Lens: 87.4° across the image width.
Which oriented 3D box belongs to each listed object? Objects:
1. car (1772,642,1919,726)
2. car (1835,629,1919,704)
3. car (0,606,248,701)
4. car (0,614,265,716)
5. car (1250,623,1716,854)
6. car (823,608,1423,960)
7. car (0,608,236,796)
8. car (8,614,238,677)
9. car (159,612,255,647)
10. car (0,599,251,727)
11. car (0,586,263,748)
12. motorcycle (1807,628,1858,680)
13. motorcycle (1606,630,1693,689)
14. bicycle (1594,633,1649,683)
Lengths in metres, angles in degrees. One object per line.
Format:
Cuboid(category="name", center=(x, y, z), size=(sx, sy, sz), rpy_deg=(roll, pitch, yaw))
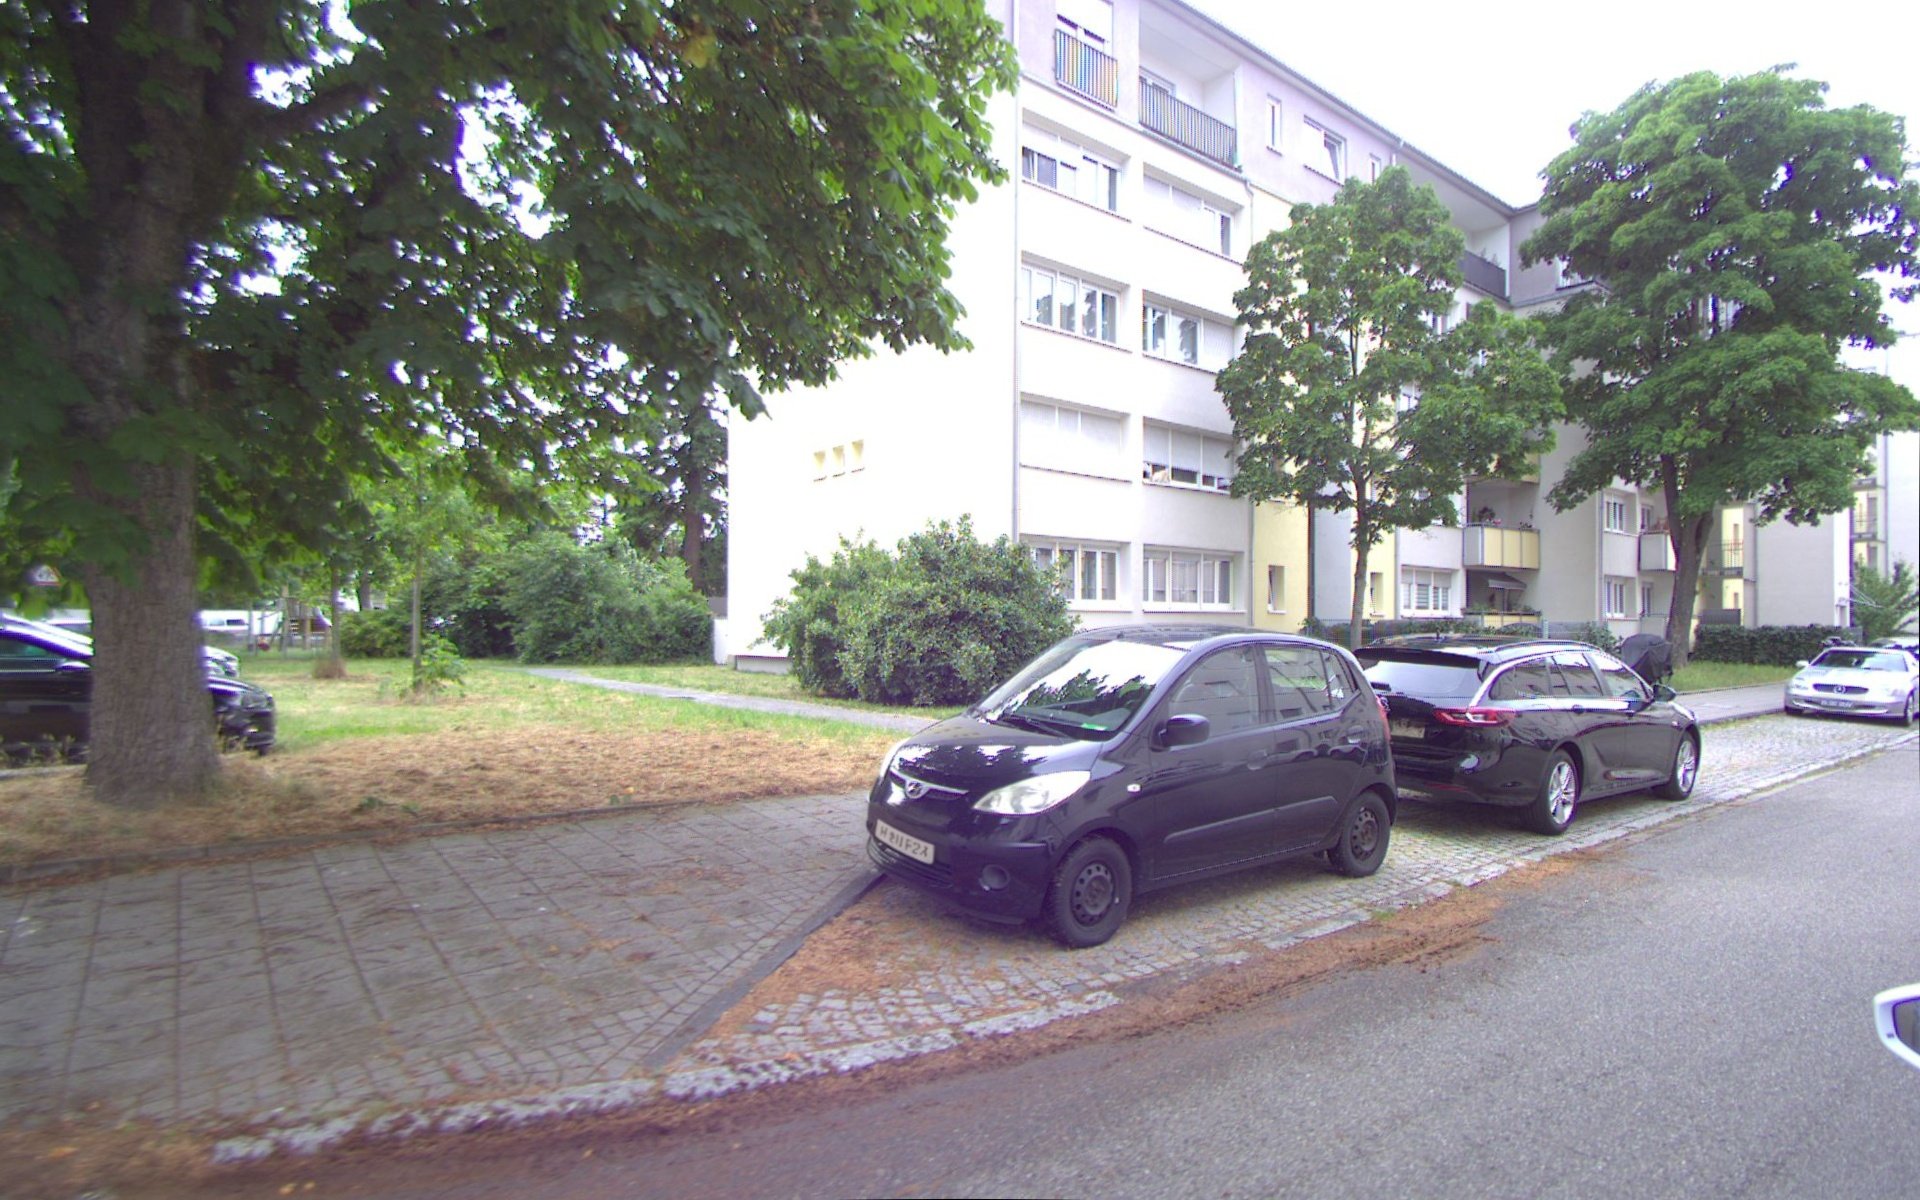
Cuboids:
Cuboid(category="car", center=(16.754, 1.486, 18.726), size=(3.980, 1.275, 1.683), rpy_deg=(1, 1, -38))
Cuboid(category="car", center=(20.928, 1.402, 22.005), size=(4.588, 1.440, 1.827), rpy_deg=(1, 1, -38))
Cuboid(category="car", center=(-17.162, 1.024, 20.555), size=(4.111, 1.582, 1.864), rpy_deg=(-3, 3, -39))
Cuboid(category="car", center=(-14.046, 0.998, 16.300), size=(4.513, 1.483, 1.824), rpy_deg=(0, 0, -35))
Cuboid(category="car", center=(4.871, 0.995, 9.040), size=(4.790, 1.484, 1.853), rpy_deg=(1, 1, -38))
Cuboid(category="car", center=(1.112, 0.849, 6.111), size=(3.556, 1.513, 1.514), rpy_deg=(1, 1, -36))
Cuboid(category="car", center=(-8.951, 0.884, 9.124), size=(3.805, 1.598, 1.812), rpy_deg=(1, -2, -36))
Cuboid(category="car", center=(-21.830, 1.116, 26.366), size=(4.527, 1.474, 1.659), rpy_deg=(0, 0, -43))
Cuboid(category="car", center=(-44.896, 1.733, 59.936), size=(4.461, 1.884, 1.975), rpy_deg=(1, 1, -42))
Cuboid(category="car", center=(-12.187, 0.797, 13.478), size=(4.313, 1.587, 1.824), rpy_deg=(0, 0, -35))
Cuboid(category="car", center=(-10.533, 0.725, 11.602), size=(4.027, 1.720, 1.898), rpy_deg=(0, 0, -35))
Cuboid(category="motorcycle", center=(24.777, 1.509, 28.519), size=(2.210, 1.374, 0.672), rpy_deg=(1, 1, -39))
Cuboid(category="motorcycle", center=(15.640, 1.308, 22.737), size=(3.037, 1.240, 0.676), rpy_deg=(1, 0, -37))
Cuboid(category="bicycle", center=(15.459, 1.347, 23.466), size=(1.758, 1.115, 0.547), rpy_deg=(1, -1, -38))
